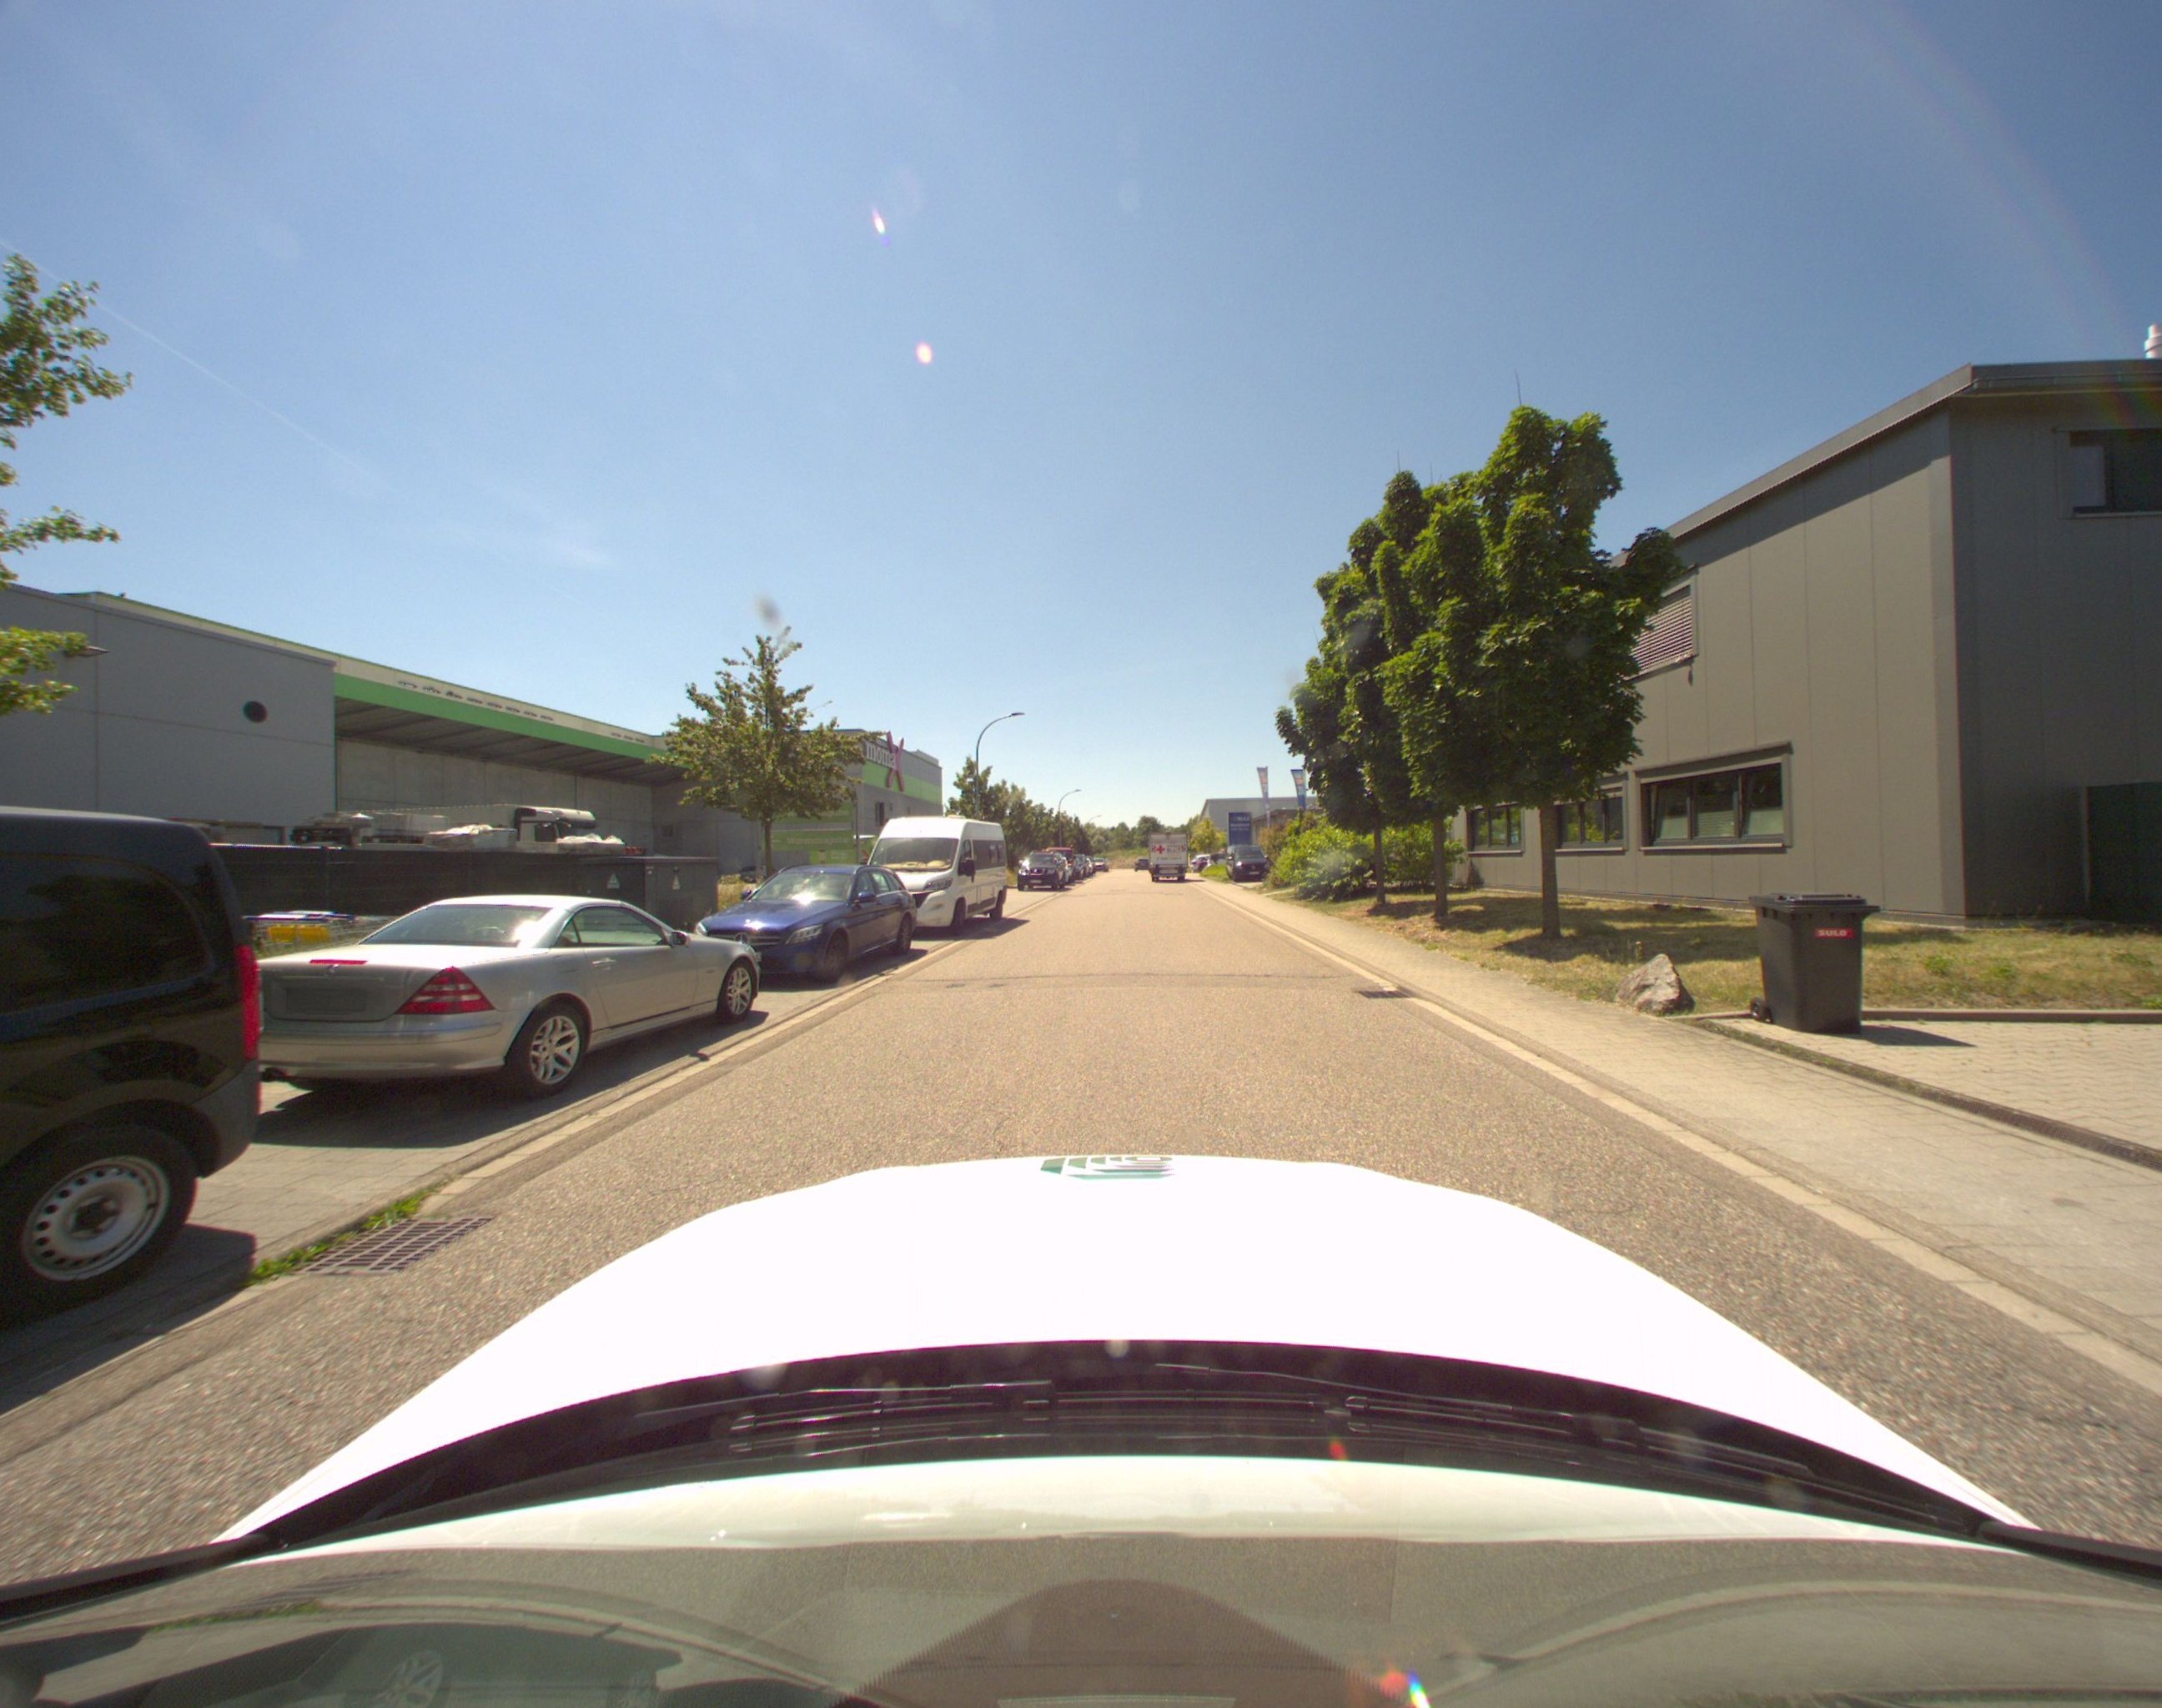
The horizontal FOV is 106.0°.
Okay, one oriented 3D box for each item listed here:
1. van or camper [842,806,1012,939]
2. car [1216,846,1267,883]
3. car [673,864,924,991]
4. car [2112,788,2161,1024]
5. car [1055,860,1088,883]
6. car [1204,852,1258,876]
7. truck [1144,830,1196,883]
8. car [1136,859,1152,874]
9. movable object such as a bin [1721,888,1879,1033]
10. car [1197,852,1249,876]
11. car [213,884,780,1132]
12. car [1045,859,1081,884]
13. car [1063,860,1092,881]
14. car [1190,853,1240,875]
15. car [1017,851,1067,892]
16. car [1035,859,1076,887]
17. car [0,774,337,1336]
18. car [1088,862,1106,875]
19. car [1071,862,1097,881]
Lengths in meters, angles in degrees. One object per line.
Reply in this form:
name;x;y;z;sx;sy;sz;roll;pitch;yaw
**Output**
van or camper;-3.208;0.390;18.607;2.068;2.483;6.141;1;-1;6
car;8.431;0.571;43.122;1.986;1.803;4.141;-1;-1;2
car;-3.772;0.896;11.779;1.790;1.449;4.259;0;0;5
car;8.797;0.308;3.882;1.776;1.783;4.913;-2;-2;6
car;-0.590;1.171;56.028;1.790;1.487;4.259;0;0;5
car;11.471;0.768;62.503;3.861;1.750;1.752;1;-1;1
truck;5.358;0.178;49.865;2.920;2.974;6.426;1;-1;4
car;7.212;1.446;93.983;1.781;1.623;3.812;1;-1;4
movable object such as a bin;5.714;0.817;6.521;0.529;1.052;0.846;-1;-1;6
car;11.201;0.788;64.443;3.861;1.750;1.752;1;-1;1
car;-4.054;0.937;6.566;1.471;1.297;3.905;0;-1;6
car;-1.106;1.063;51.468;1.790;1.487;4.259;0;0;5
car;-0.238;1.197;61.530;1.790;1.487;4.259;0;0;5
car;10.994;0.819;67.163;3.861;1.750;1.752;1;-1;1
car;-1.789;0.803;38.716;1.790;1.849;4.259;0;0;5
car;-1.398;1.021;46.193;1.790;1.487;4.259;0;0;5
car;-4.447;0.641;1.651;1.791;1.814;4.255;0;-1;3
car;1.868;1.704;95.983;1.790;1.487;4.259;0;0;5
car;0.278;1.406;67.103;1.790;1.487;4.259;0;0;5
